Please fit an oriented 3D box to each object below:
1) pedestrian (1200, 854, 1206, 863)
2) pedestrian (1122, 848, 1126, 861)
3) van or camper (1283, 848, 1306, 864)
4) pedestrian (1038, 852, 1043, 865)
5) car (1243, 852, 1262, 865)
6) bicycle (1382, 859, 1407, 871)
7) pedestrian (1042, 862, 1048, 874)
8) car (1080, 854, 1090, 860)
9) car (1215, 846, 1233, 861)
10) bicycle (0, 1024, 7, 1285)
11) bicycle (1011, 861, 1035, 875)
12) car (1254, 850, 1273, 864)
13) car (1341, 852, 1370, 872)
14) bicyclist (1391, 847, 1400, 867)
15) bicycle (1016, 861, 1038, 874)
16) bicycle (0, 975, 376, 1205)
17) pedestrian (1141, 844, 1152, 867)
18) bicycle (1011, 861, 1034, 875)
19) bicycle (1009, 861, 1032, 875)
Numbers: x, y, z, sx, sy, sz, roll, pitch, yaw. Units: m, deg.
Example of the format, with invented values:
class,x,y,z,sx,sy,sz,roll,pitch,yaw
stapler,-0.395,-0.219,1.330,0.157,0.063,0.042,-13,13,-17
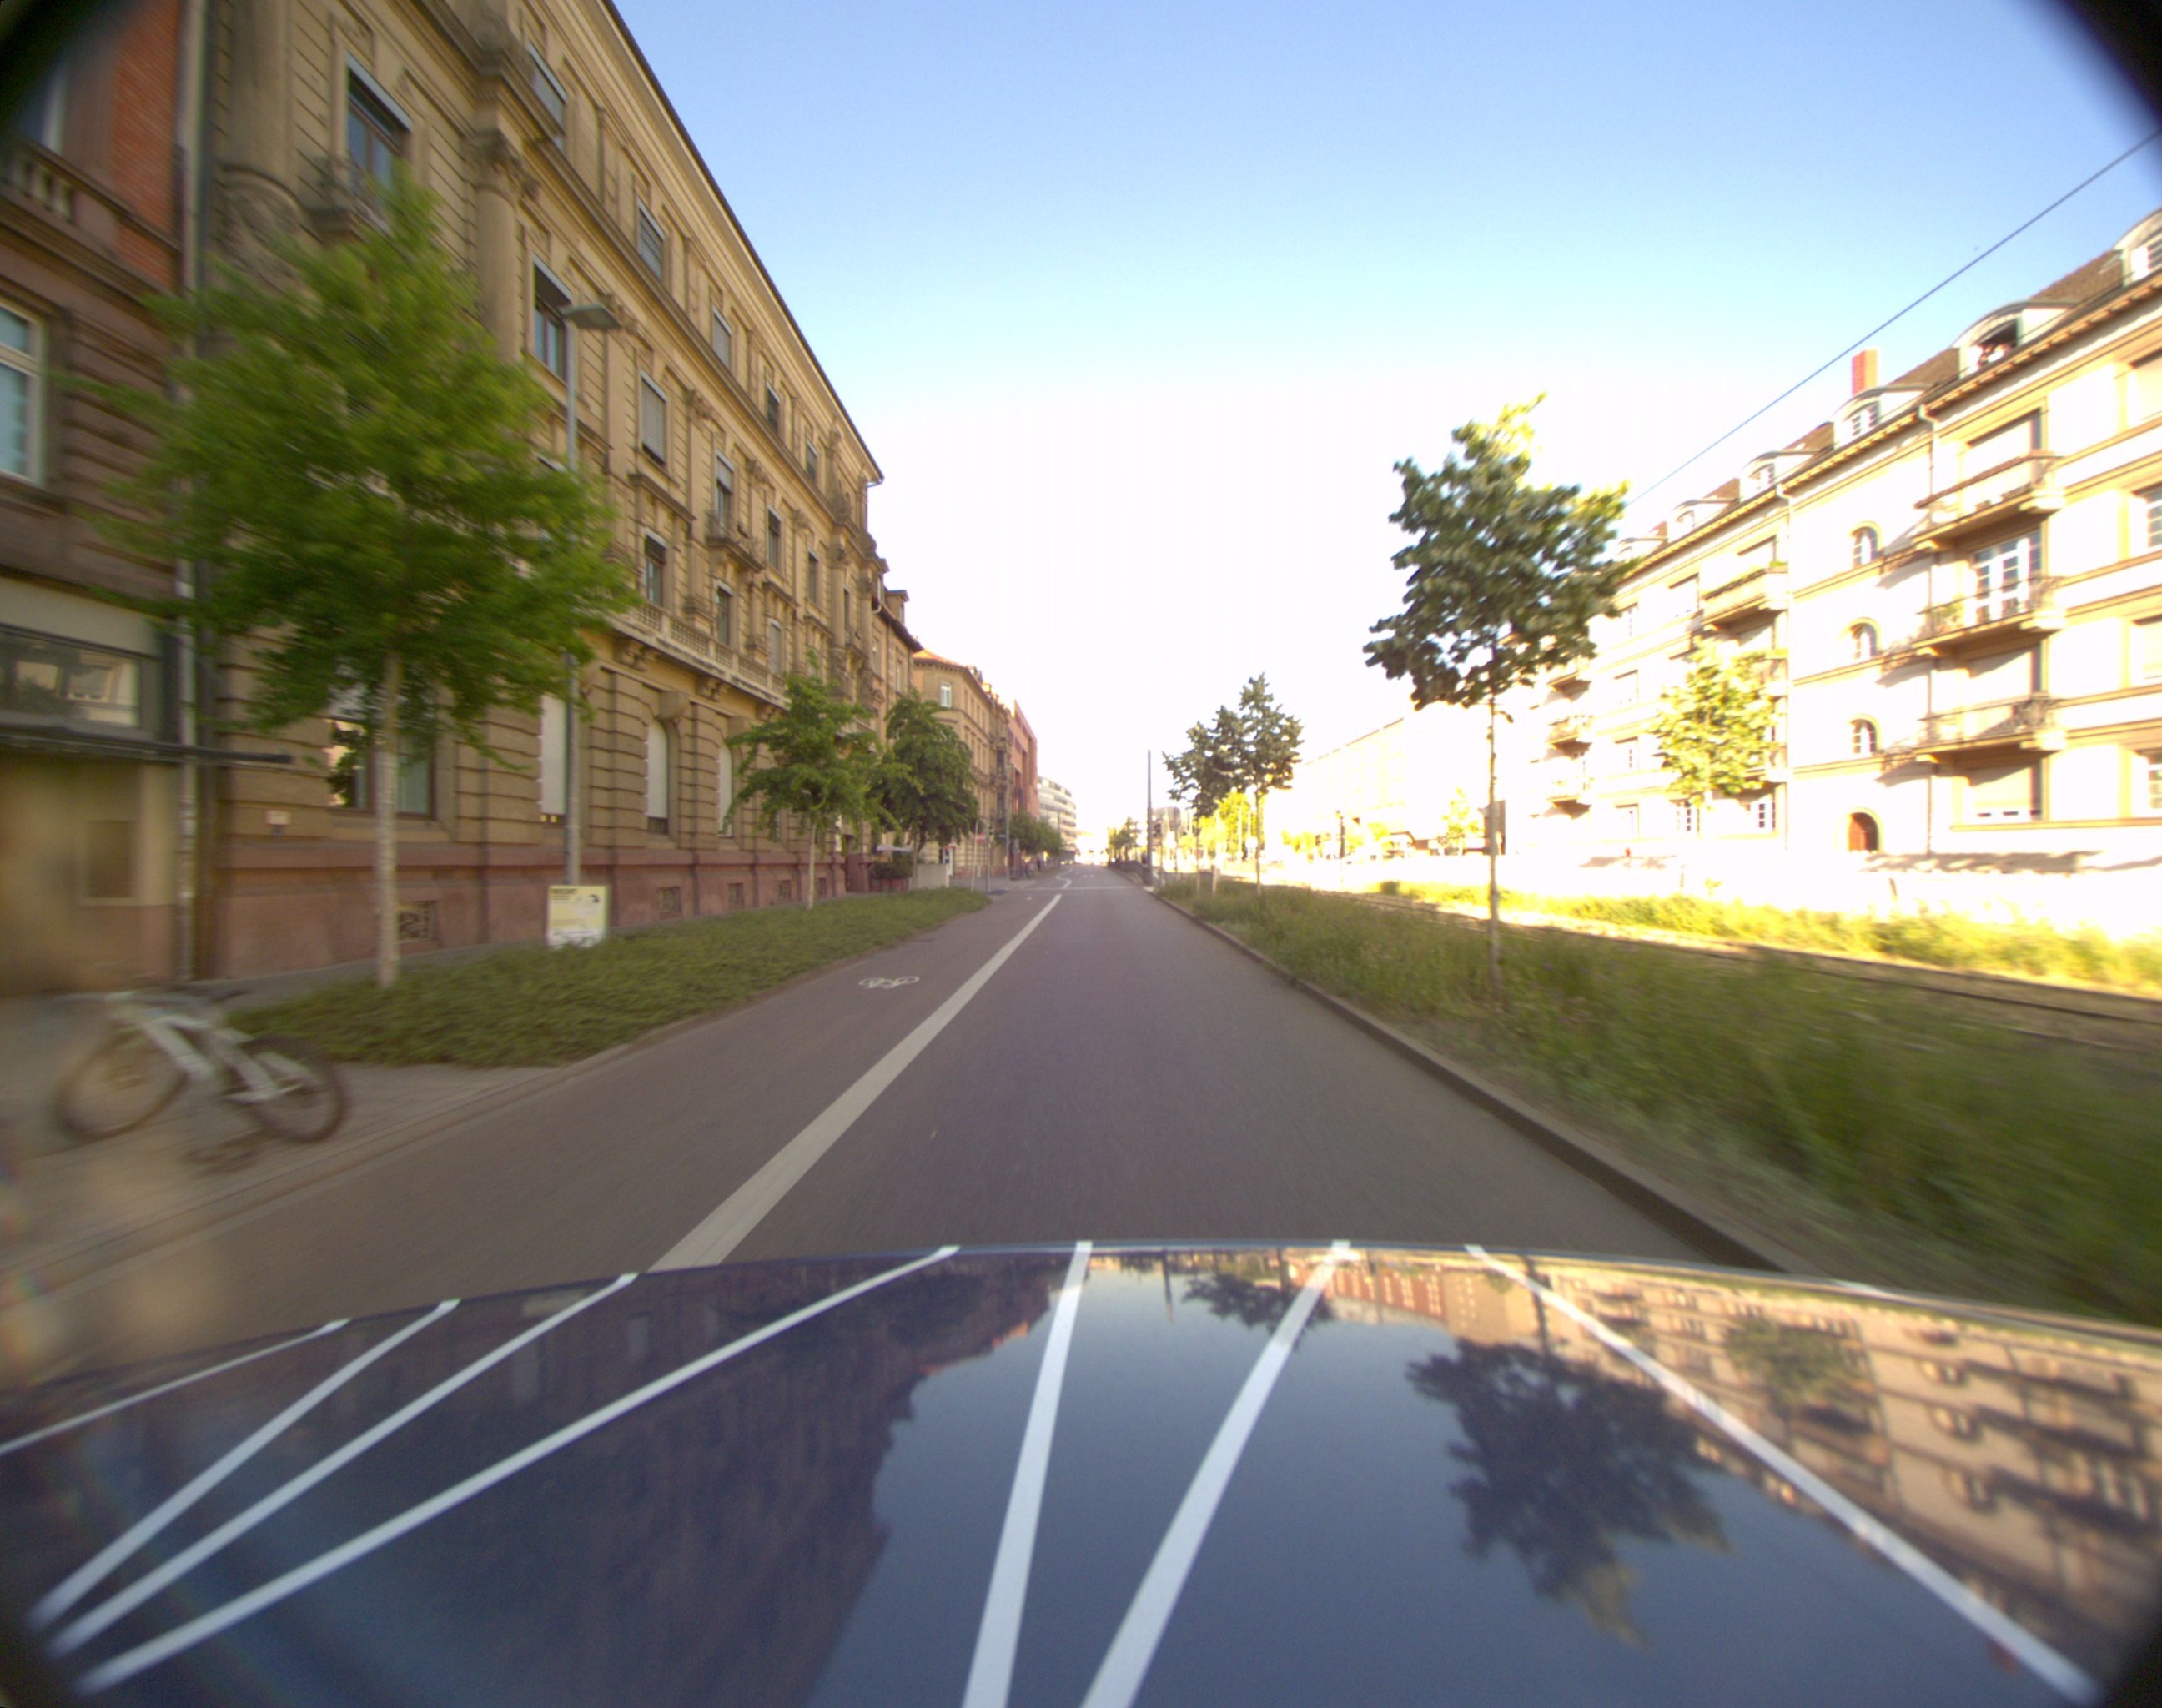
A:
class,x,y,z,sx,sy,sz,roll,pitch,yaw
pedestrian,16.977,0.592,105.917,0.674,1.183,0.906,0,1,1
pedestrian,5.743,0.118,101.830,0.506,1.722,0.651,0,1,1
van or camper,31.308,0.309,111.732,1.998,2.156,5.618,0,-2,3
pedestrian,-5.606,0.618,106.051,0.463,1.746,0.539,0,1,45
car,25.895,0.677,114.561,1.891,1.855,4.316,0,-1,0
bicycle,25.628,0.900,62.133,1.741,0.942,0.685,0,0,-2
pedestrian,-5.104,1.965,107.919,0.537,1.746,0.696,0,1,20
car,1.177,0.771,218.692,1.901,1.611,3.871,0,-1,16
car,23.253,-0.110,123.467,2.050,2.344,4.920,0,0,0
bicycle,-5.123,1.183,2.706,1.696,1.042,0.489,1,0,-6
bicycle,-4.554,1.110,60.094,1.830,1.058,0.663,2,0,-4
car,25.608,0.441,106.634,1.890,1.855,4.317,0,-1,4
car,28.053,0.823,77.775,1.997,2.001,4.150,0,-1,7
bicyclist,25.723,0.237,62.124,0.487,1.670,0.666,0,1,-3
bicycle,-4.548,1.165,64.327,1.830,1.058,0.663,2,0,-4
bicycle,-4.772,1.198,3.988,1.581,1.042,0.489,1,0,-6
pedestrian,4.660,0.113,53.918,0.656,1.633,0.867,-1,2,1
bicycle,-4.742,1.130,61.573,1.830,1.058,0.663,2,0,-4
bicycle,-5.038,1.150,62.965,1.830,1.058,0.663,2,0,-4
